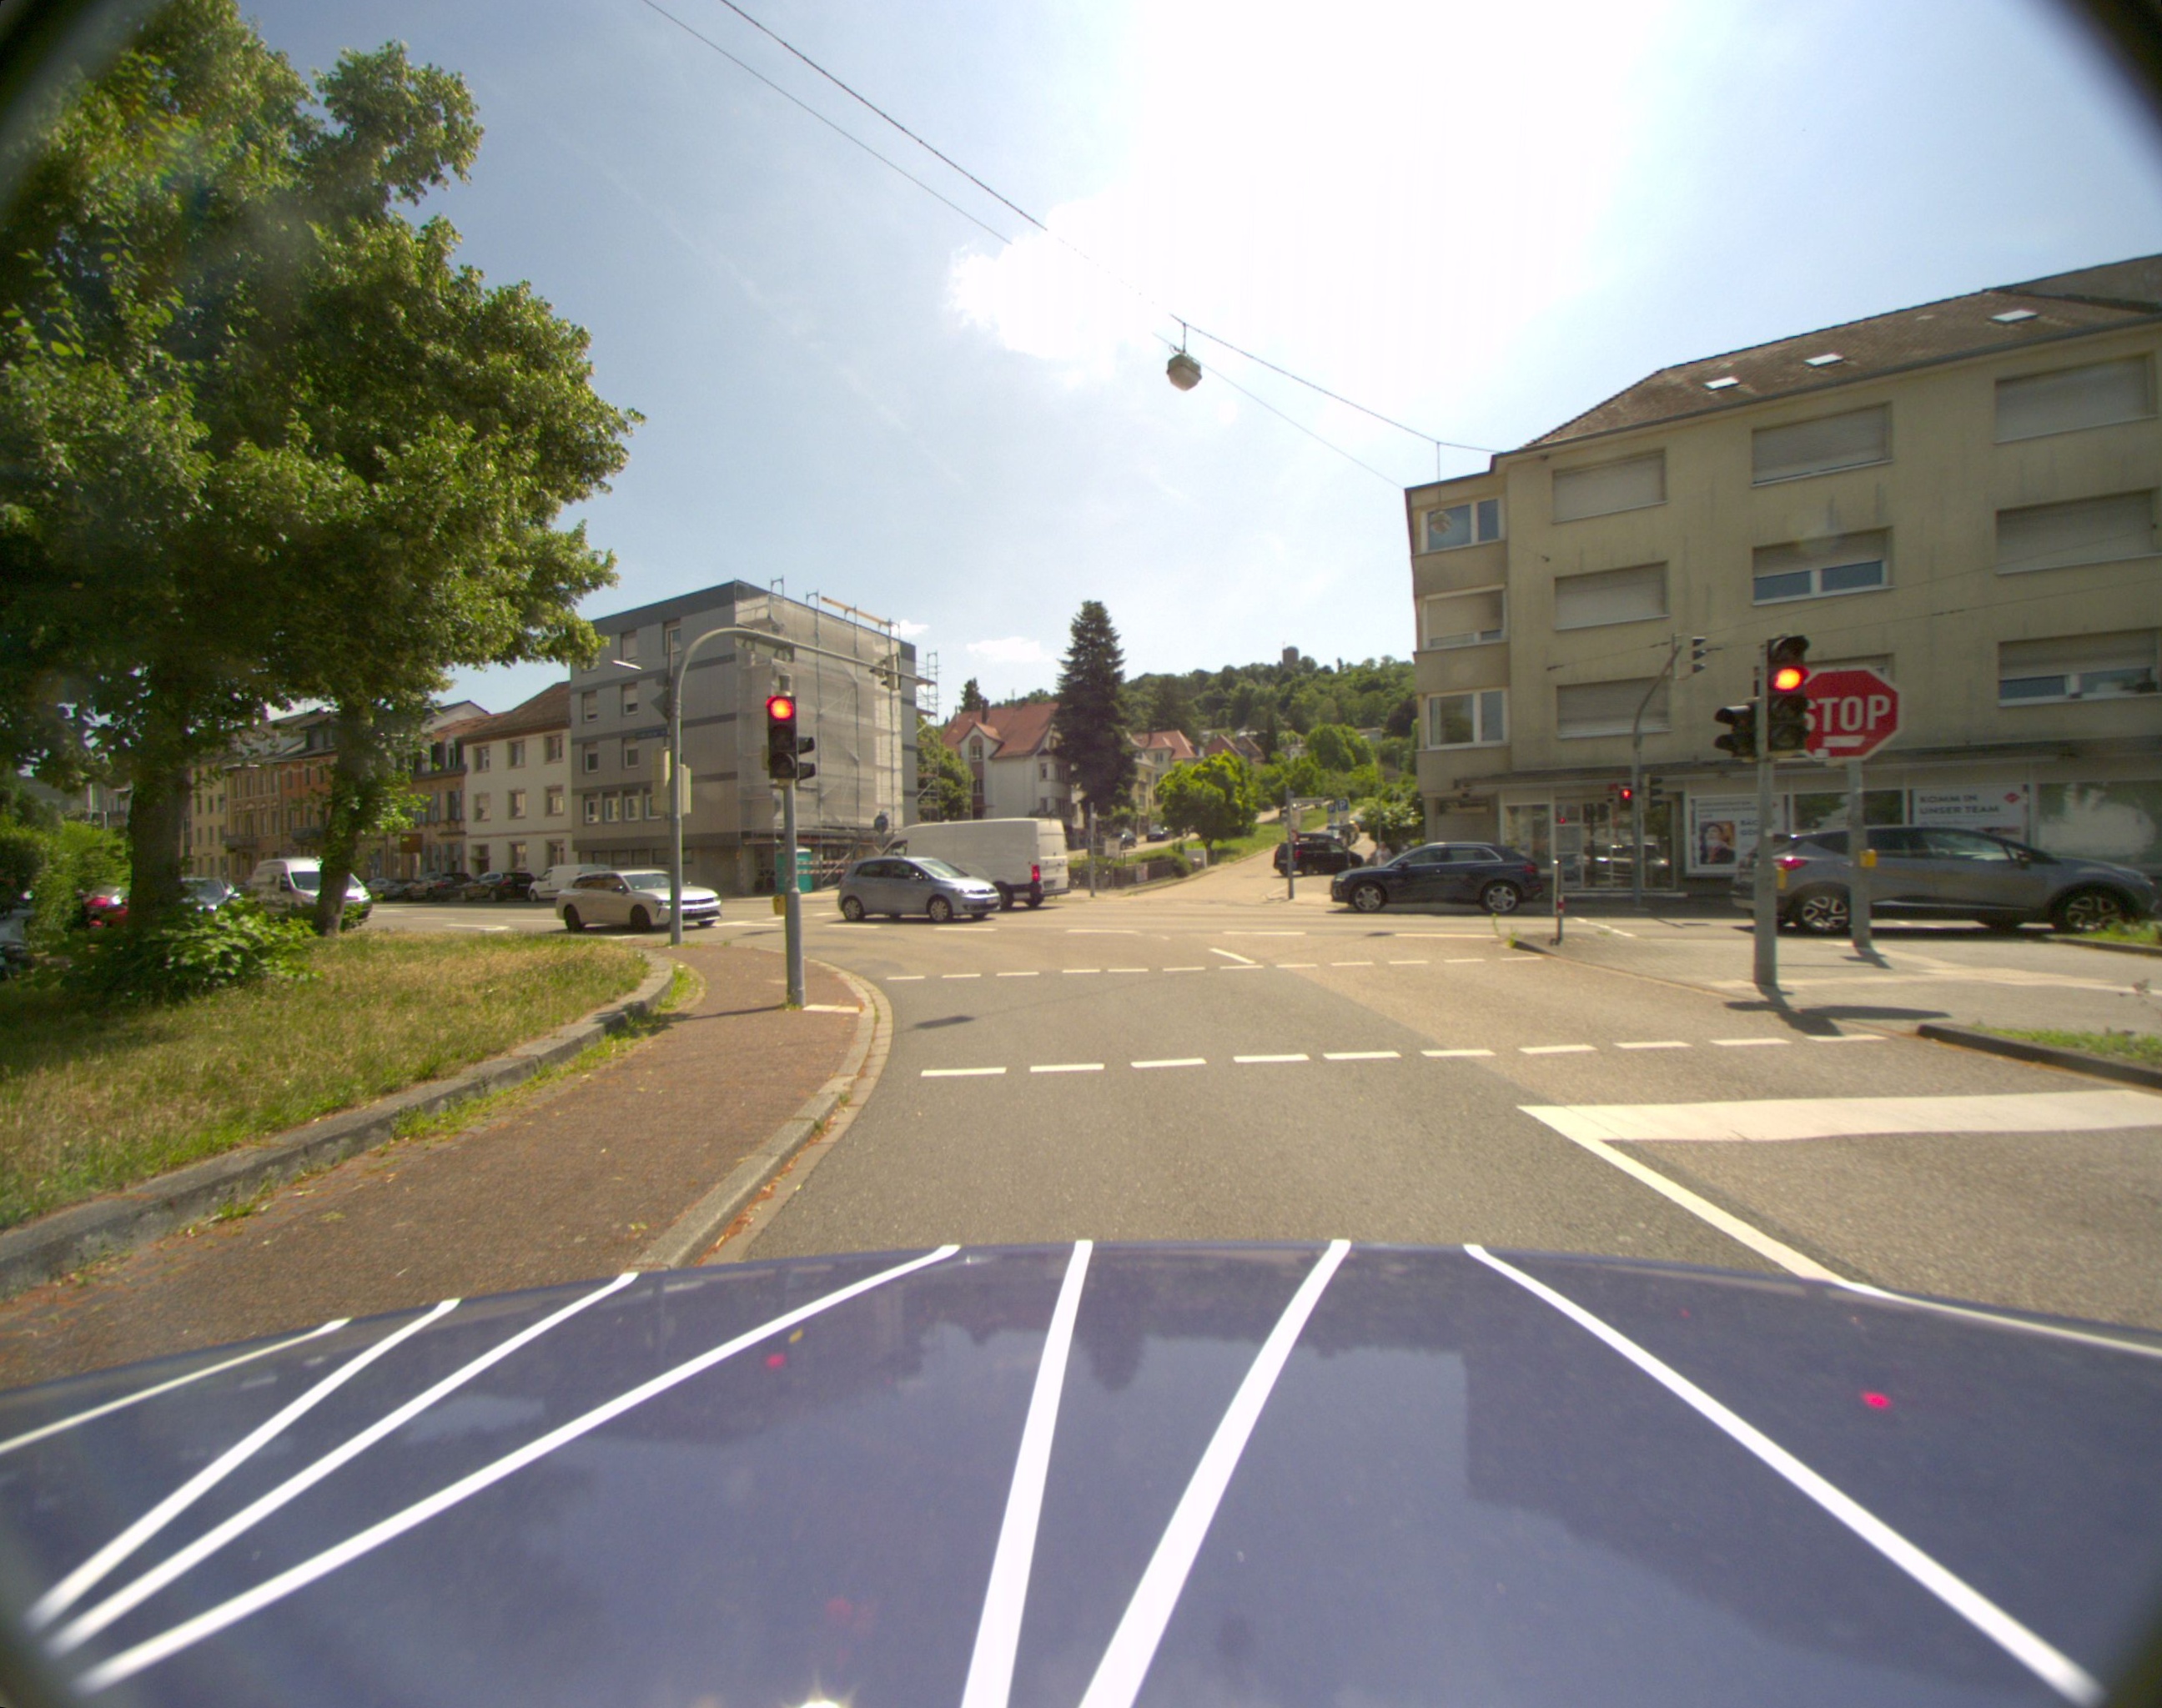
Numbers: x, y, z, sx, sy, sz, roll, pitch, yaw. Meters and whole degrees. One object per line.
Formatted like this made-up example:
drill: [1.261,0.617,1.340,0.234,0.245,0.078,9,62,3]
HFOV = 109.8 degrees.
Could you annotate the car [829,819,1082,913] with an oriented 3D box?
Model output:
car: [-3.863,0.358,22.819,7.535,2.487,2.227,-1,1,26]

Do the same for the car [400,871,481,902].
car: [-36.099,1.797,42.800,4.805,1.631,1.895,-1,-1,28]

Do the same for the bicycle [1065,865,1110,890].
bicycle: [0.263,0.942,30.725,1.779,0.961,0.399,-1,1,23]

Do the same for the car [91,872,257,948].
car: [-21.656,1.290,18.379,1.844,1.539,5.143,-1,-2,-42]

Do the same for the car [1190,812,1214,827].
car: [13.141,-3.739,82.155,1.754,1.440,3.742,-2,4,22]

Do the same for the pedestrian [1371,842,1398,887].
pedestrian: [11.277,0.385,28.222,0.820,1.623,0.805,-1,1,28]

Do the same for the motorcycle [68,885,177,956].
motorcycle: [-19.232,1.291,15.306,0.935,1.294,2.275,-1,-2,-40]

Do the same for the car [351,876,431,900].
car: [-41.994,2.085,46.228,4.825,1.397,1.875,-1,-3,25]

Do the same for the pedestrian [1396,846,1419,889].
pedestrian: [11.181,0.458,25.995,0.647,1.467,0.689,-1,1,28]

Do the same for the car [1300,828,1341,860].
car: [14.278,-0.617,45.190,1.805,1.607,4.004,-1,4,25]

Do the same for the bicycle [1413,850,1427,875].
bicycle: [14.745,0.372,33.029,0.497,1.021,1.746,-1,1,26]

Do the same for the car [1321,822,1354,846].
car: [18.448,-1.455,54.490,1.805,1.380,4.004,-1,4,25]

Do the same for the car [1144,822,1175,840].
car: [7.264,-2.116,69.964,1.754,1.440,3.742,-2,4,22]

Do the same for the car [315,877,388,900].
car: [-46.952,2.228,48.883,4.320,1.397,1.875,-1,-3,25]

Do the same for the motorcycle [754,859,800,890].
motorcycle: [-15.160,0.992,37.946,2.045,1.463,0.880,-2,1,-24]

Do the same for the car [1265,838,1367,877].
car: [11.046,0.143,35.727,4.334,1.654,1.996,-2,0,-24]

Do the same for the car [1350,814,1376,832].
car: [25.232,-2.788,67.992,1.854,1.413,4.004,-1,4,25]

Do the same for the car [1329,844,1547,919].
car: [8.063,0.643,17.439,4.275,1.548,1.862,-1,-2,25]

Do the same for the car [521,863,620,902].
car: [-25.158,1.392,37.445,4.776,1.814,1.924,-1,-1,26]

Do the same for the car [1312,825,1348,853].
car: [16.375,-1.037,49.876,1.805,1.542,4.004,-1,4,25]

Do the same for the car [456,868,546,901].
car: [-30.493,1.585,39.927,4.651,1.631,1.895,-1,-1,26]

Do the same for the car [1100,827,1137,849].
car: [3.062,-1.304,61.153,1.754,1.440,3.742,-2,4,22]

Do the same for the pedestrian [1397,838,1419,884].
pedestrian: [11.930,0.257,27.710,0.647,1.623,0.689,-1,1,28]

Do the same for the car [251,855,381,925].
car: [-27.326,1.233,27.079,5.656,2.261,1.910,-1,1,31]

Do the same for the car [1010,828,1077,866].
car: [-2.428,-0.524,50.723,2.069,2.166,5.018,-1,4,29]

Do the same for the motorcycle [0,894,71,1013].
motorcycle: [-12.846,1.177,8.606,0.920,1.305,2.219,-3,1,-33]

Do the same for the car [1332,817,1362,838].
car: [20.983,-2.140,59.856,1.805,1.413,4.004,-1,4,25]

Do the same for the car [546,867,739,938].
car: [-10.677,1.113,18.472,4.475,1.489,1.909,-1,0,27]

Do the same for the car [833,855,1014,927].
car: [-3.819,0.868,18.462,3.990,1.559,1.763,-1,1,25]

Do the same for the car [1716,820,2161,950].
car: [12.021,0.421,10.995,3.991,1.622,1.762,-2,1,22]
